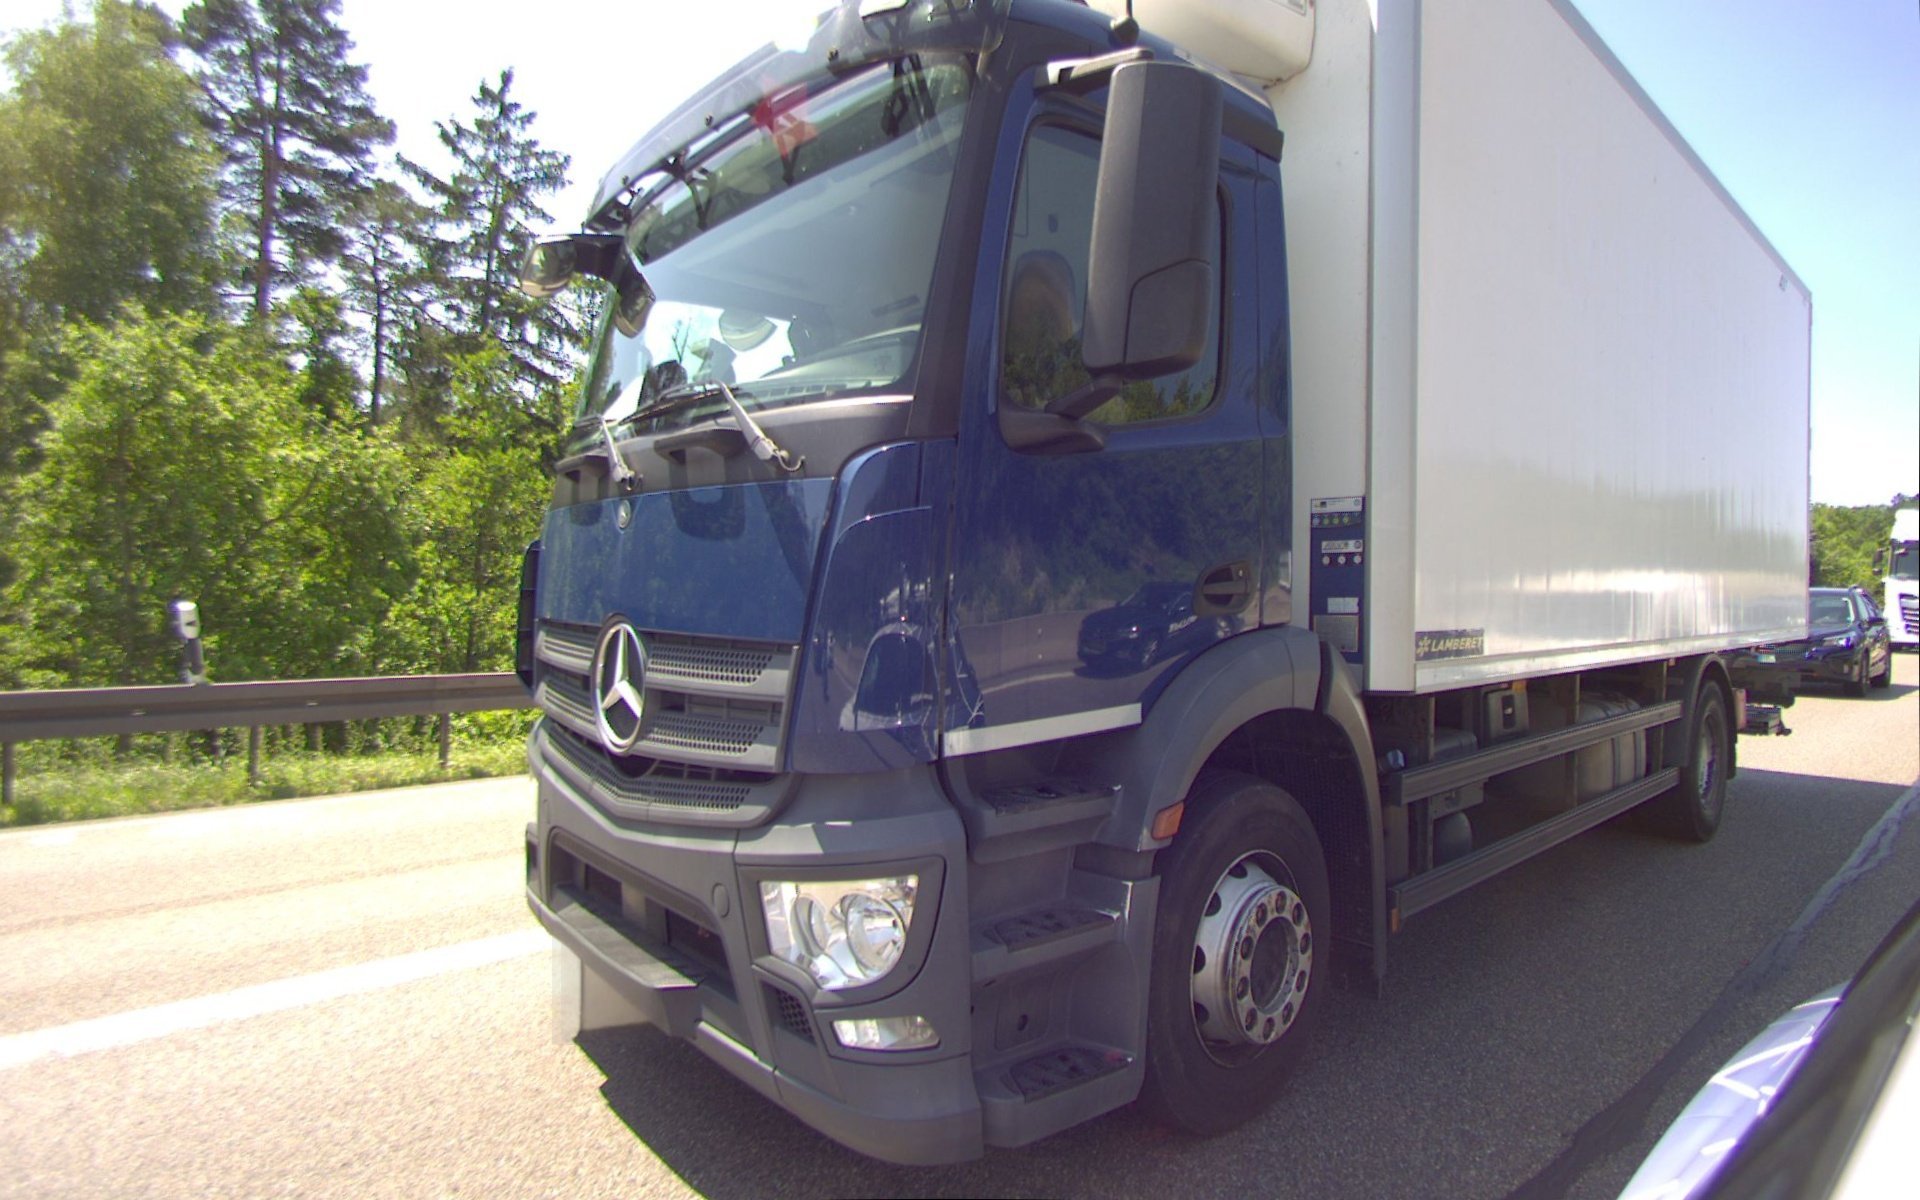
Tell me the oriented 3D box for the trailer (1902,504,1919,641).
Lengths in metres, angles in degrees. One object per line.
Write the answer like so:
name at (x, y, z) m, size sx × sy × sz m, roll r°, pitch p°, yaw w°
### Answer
trailer at (33.941, -0.893, 33.509) m, size 11.416 × 4.133 × 2.765 m, roll -1°, pitch 3°, yaw -41°

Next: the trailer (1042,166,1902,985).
trailer at (4.233, -0.118, 7.112) m, size 7.742 × 2.935 × 2.561 m, roll 0°, pitch 0°, yaw -40°

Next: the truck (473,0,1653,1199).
truck at (0.576, -0.076, 4.012) m, size 4.031 × 2.977 × 2.561 m, roll -1°, pitch 2°, yaw -40°

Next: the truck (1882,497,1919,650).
truck at (28.980, -0.774, 29.126) m, size 7.206 × 4.135 × 2.765 m, roll -1°, pitch 1°, yaw -41°

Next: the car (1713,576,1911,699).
car at (14.175, 0.478, 16.750) m, size 4.534 × 1.713 × 1.996 m, roll -1°, pitch 3°, yaw -44°
